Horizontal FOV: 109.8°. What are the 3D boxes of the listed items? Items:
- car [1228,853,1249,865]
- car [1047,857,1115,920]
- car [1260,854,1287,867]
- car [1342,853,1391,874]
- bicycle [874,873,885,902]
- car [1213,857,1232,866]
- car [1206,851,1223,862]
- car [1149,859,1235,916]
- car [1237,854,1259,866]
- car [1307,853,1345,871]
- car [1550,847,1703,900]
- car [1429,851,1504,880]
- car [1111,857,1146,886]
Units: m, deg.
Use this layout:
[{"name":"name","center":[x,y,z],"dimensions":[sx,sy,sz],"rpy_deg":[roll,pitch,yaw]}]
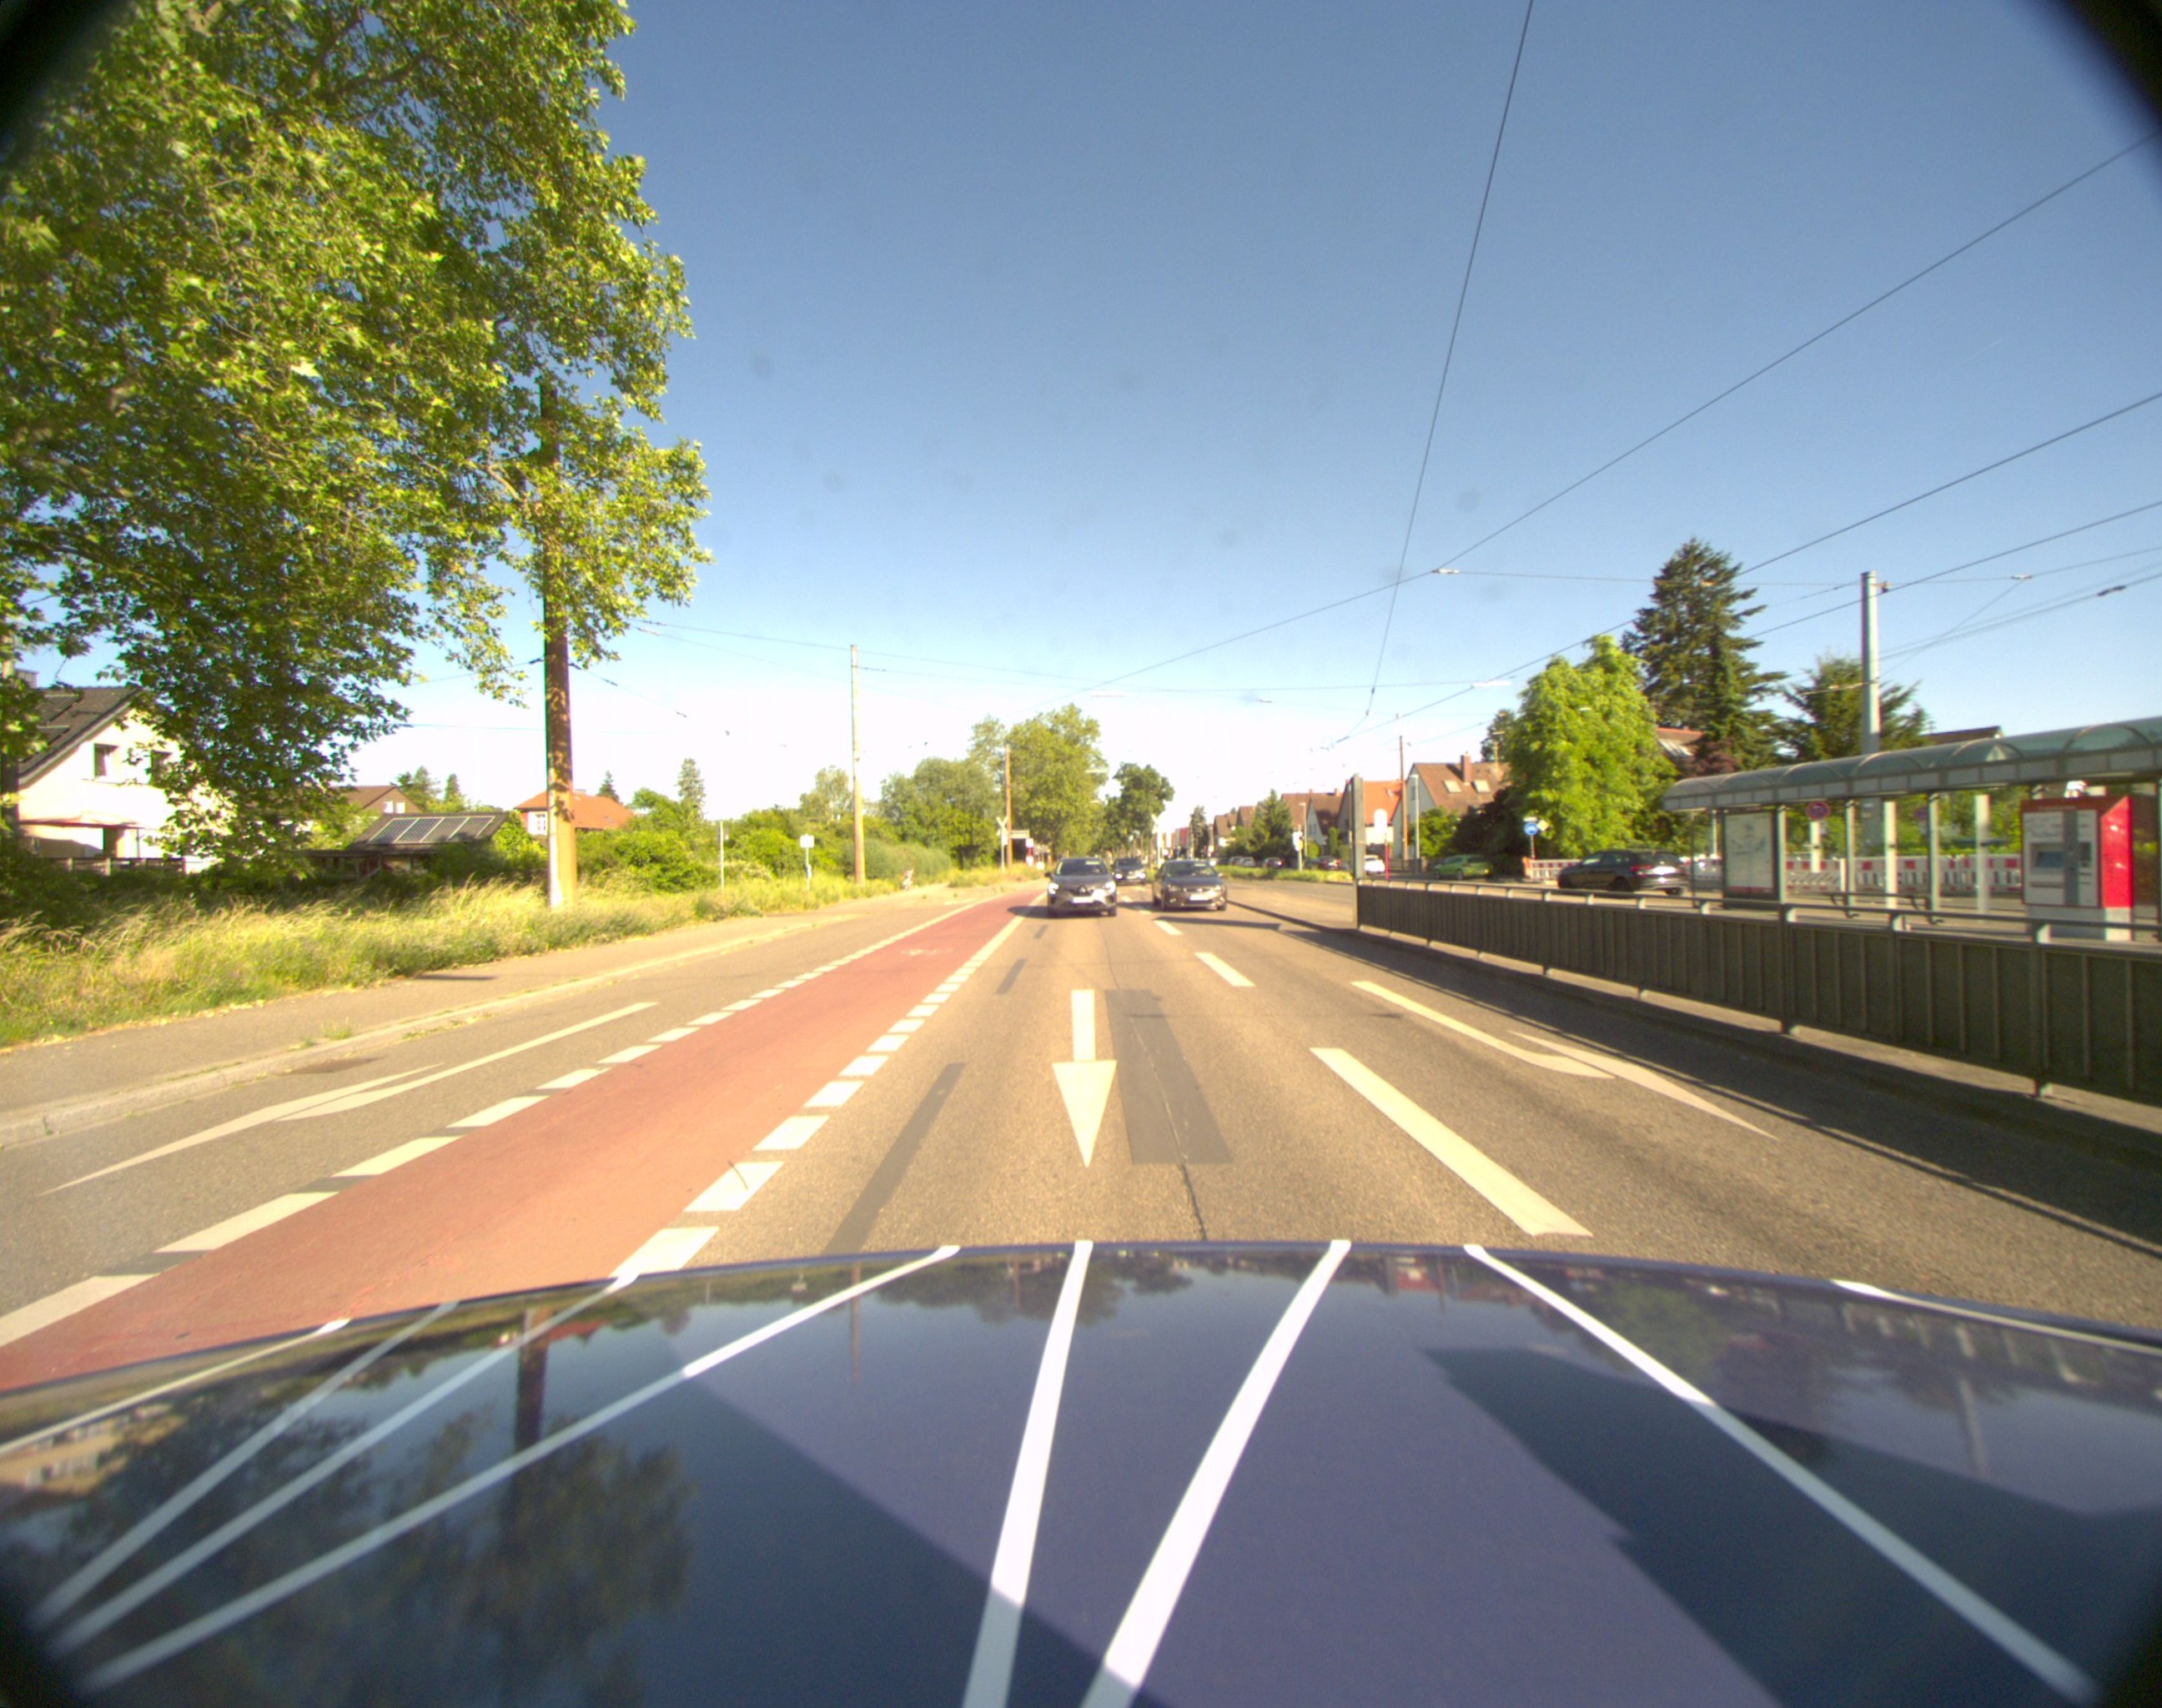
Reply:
[{"name":"car","center":[21.918,0.687,106.016],"dimensions":[1.888,1.552,4.537],"rpy_deg":[-3,0,0]},{"name":"car","center":[-0.019,0.875,20.810],"dimensions":[1.673,1.529,3.586],"rpy_deg":[-2,0,-1]},{"name":"car","center":[21.925,0.754,86.804],"dimensions":[1.998,1.363,4.310],"rpy_deg":[-2,0,1]},{"name":"car","center":[21.778,0.686,58.164],"dimensions":[1.888,1.464,4.613],"rpy_deg":[-3,0,-1]},{"name":"bicycle","center":[-8.332,1.355,31.499],"dimensions":[0.366,1.128,2.093],"rpy_deg":[-1,0,-13]},{"name":"car","center":[21.845,1.155,117.725],"dimensions":[1.998,1.333,4.982],"rpy_deg":[-3,0,1]},{"name":"car","center":[22.215,0.405,126.567],"dimensions":[1.998,1.852,4.584],"rpy_deg":[-2,0,1]},{"name":"car","center":[3.142,0.908,22.359],"dimensions":[1.780,1.441,4.333],"rpy_deg":[-1,0,-1]},{"name":"car","center":[22.171,0.739,100.962],"dimensions":[1.888,1.463,4.839],"rpy_deg":[-3,0,1]},{"name":"car","center":[21.896,0.671,68.119],"dimensions":[1.912,1.457,4.440],"rpy_deg":[-3,0,0]},{"name":"car","center":[17.119,0.569,24.166],"dimensions":[1.740,1.511,4.344],"rpy_deg":[-1,0,0]},{"name":"car","center":[21.990,0.630,43.499],"dimensions":[1.999,1.492,4.067],"rpy_deg":[-3,0,-3]},{"name":"car","center":[2.766,0.977,44.600],"dimensions":[1.780,1.620,4.288],"rpy_deg":[-1,0,0]}]
